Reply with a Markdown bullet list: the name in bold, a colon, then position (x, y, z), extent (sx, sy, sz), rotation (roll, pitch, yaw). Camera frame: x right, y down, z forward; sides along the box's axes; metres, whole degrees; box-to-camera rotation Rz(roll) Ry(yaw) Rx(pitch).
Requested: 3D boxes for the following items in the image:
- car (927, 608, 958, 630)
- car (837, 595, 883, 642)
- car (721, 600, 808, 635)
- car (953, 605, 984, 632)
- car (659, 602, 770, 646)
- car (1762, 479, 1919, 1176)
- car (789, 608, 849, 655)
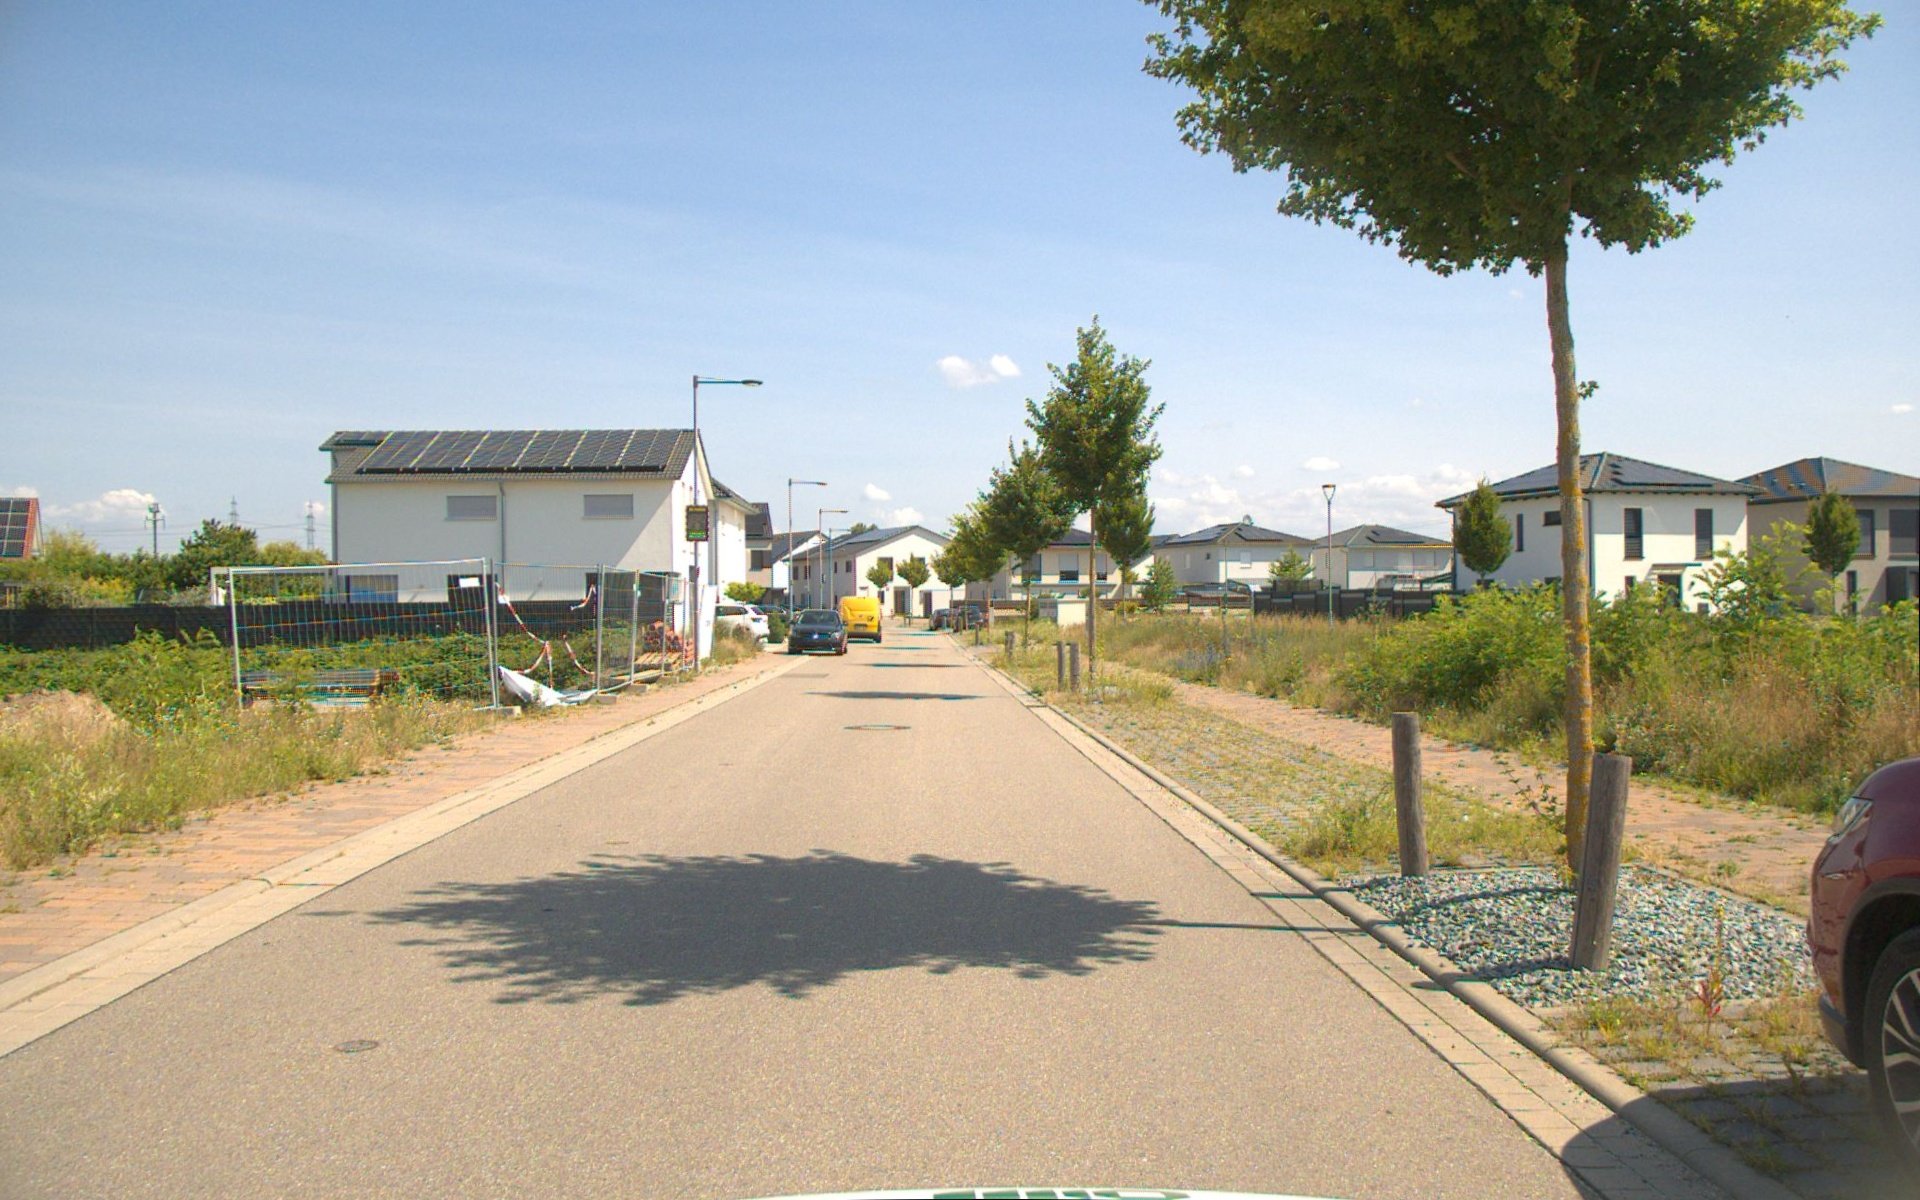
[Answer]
- **car**: position (-1.232, 1.315, 113.015), extent (1.597, 1.346, 3.826), rotation (0, -2, -8)
- **car**: position (-4.506, 0.849, 74.218), extent (1.904, 2.016, 4.212), rotation (-1, -1, -5)
- **car**: position (-10.025, 0.892, 84.772), extent (4.096, 1.531, 1.806), rotation (4, -1, -18)
- **car**: position (0.472, 1.082, 94.456), extent (1.606, 1.427, 3.808), rotation (-1, -2, -3)
- **car**: position (-9.531, 0.934, 64.407), extent (3.983, 1.609, 1.785), rotation (1, 0, 4)
- **car**: position (3.245, 0.536, 2.492), extent (1.741, 1.692, 4.432), rotation (-2, 0, -2)
- **car**: position (-4.572, 1.010, 54.070), extent (1.710, 1.429, 4.158), rotation (2, 0, -2)
